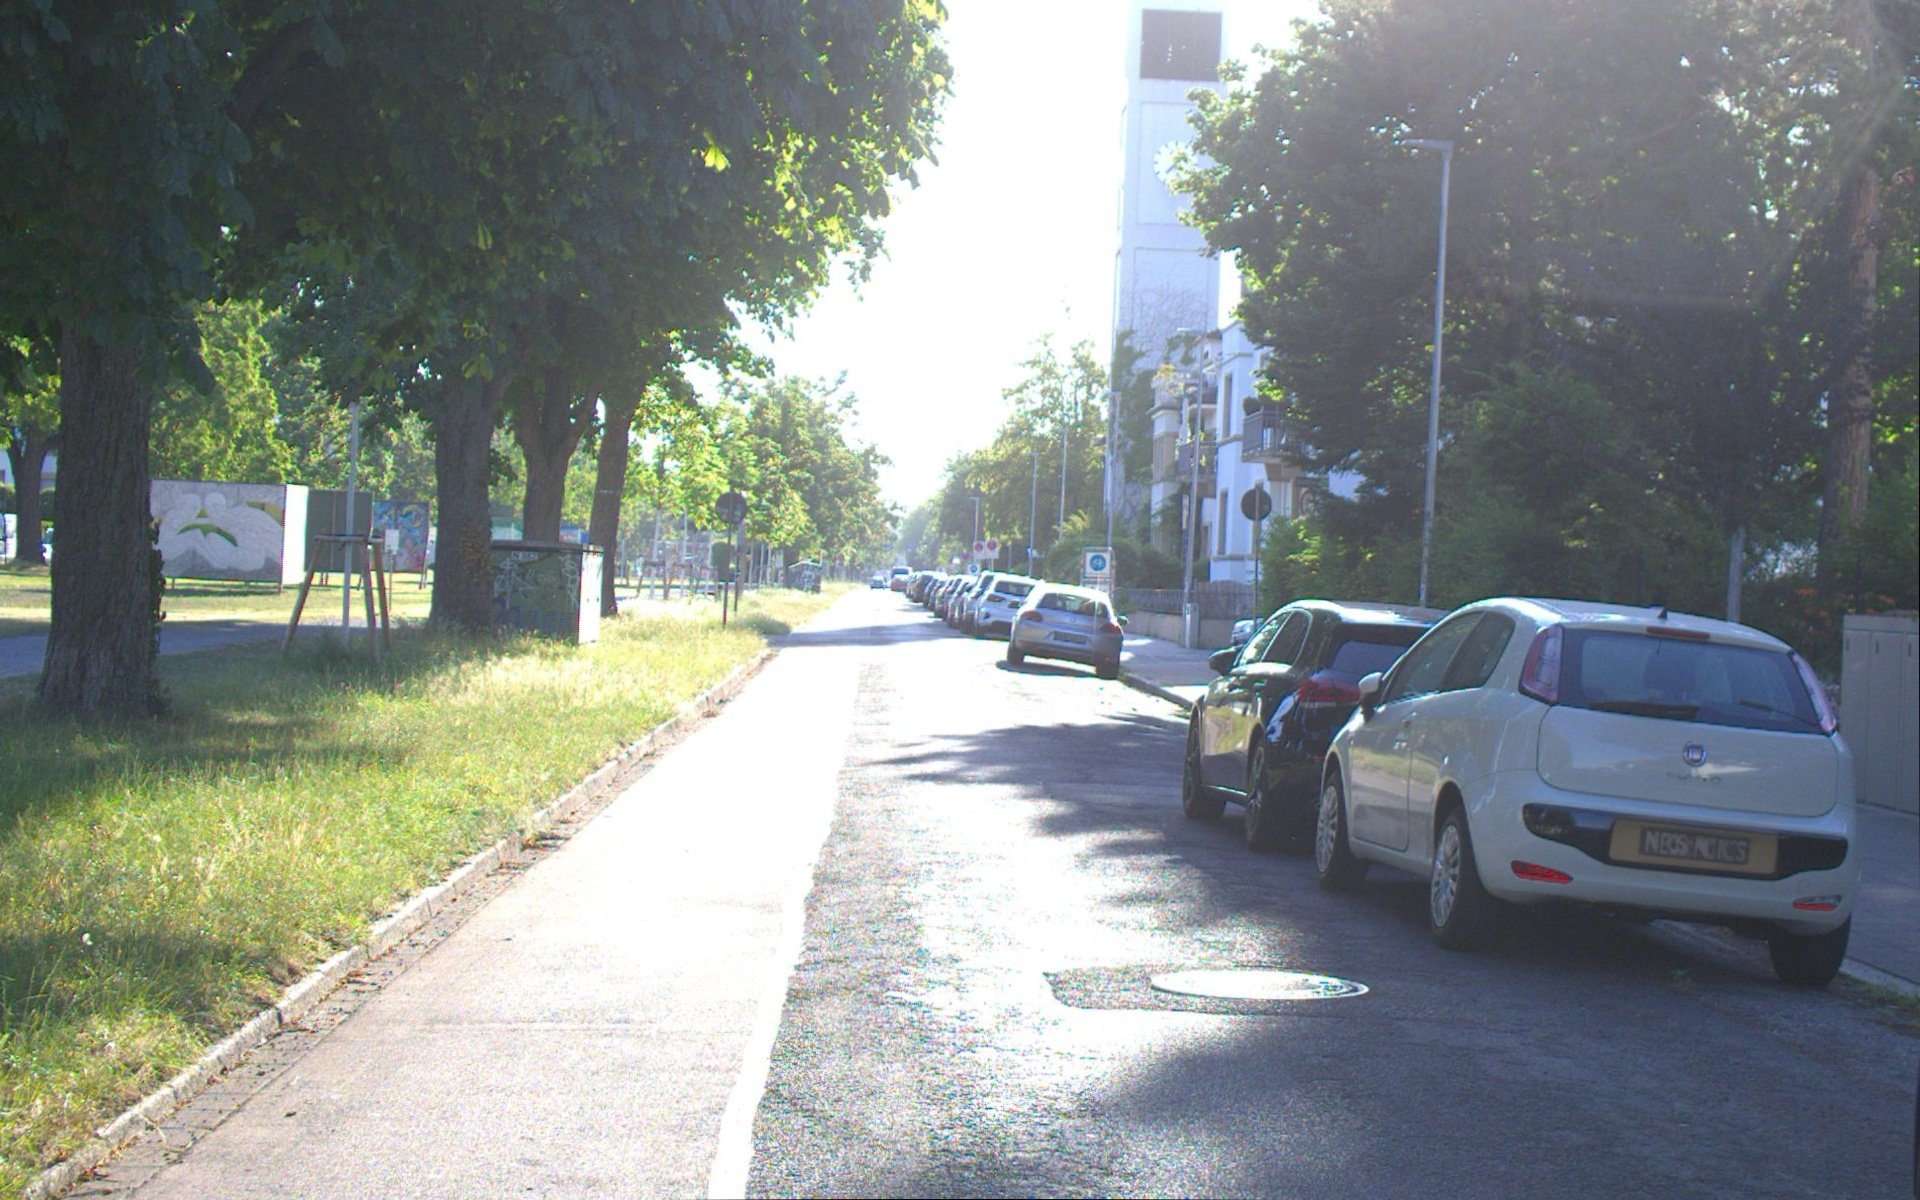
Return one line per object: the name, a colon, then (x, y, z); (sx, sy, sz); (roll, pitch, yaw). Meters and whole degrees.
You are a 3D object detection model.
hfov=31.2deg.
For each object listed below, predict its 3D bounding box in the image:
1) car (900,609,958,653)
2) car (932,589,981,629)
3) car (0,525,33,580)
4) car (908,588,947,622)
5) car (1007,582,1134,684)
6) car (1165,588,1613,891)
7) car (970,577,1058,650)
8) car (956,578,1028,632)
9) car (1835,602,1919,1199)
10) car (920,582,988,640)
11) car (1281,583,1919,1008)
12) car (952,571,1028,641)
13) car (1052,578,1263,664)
car: (-1.089, 1.097, 122.160); (1.993, 1.459, 4.000); (2, 0, 0)
car: (-0.157, 0.380, 148.306); (1.993, 1.624, 4.000); (2, 0, 0)
car: (-43.662, -2.153, 156.182); (1.993, 2.401, 4.363); (0, 0, -1)
car: (-1.716, 0.265, 182.801); (1.980, 1.677, 4.000); (2, 0, 0)
car: (1.813, 0.533, 57.705); (1.757, 1.415, 4.072); (8, 0, -1)
car: (2.414, 0.737, 20.427); (1.748, 1.472, 4.289); (4, 0, -4)
car: (1.239, 0.301, 80.931); (1.758, 1.599, 4.359); (2, 0, -2)
car: (0.875, 0.144, 96.424); (1.760, 1.415, 4.000); (2, 0, -2)
car: (2.891, 0.790, 5.119); (1.793, 1.487, 4.674); (3, 0, -2)
car: (-0.186, 0.296, 101.172); (1.758, 1.599, 4.359); (2, 0, -2)
car: (2.708, 0.762, 15.420); (1.691, 1.478, 3.930); (6, 0, -5)
car: (0.739, 0.128, 86.891); (1.685, 1.645, 4.100); (3, 0, -1)
car: (4.061, 0.423, 71.104); (3.986, 1.415, 1.767); (4, 2, -8)
